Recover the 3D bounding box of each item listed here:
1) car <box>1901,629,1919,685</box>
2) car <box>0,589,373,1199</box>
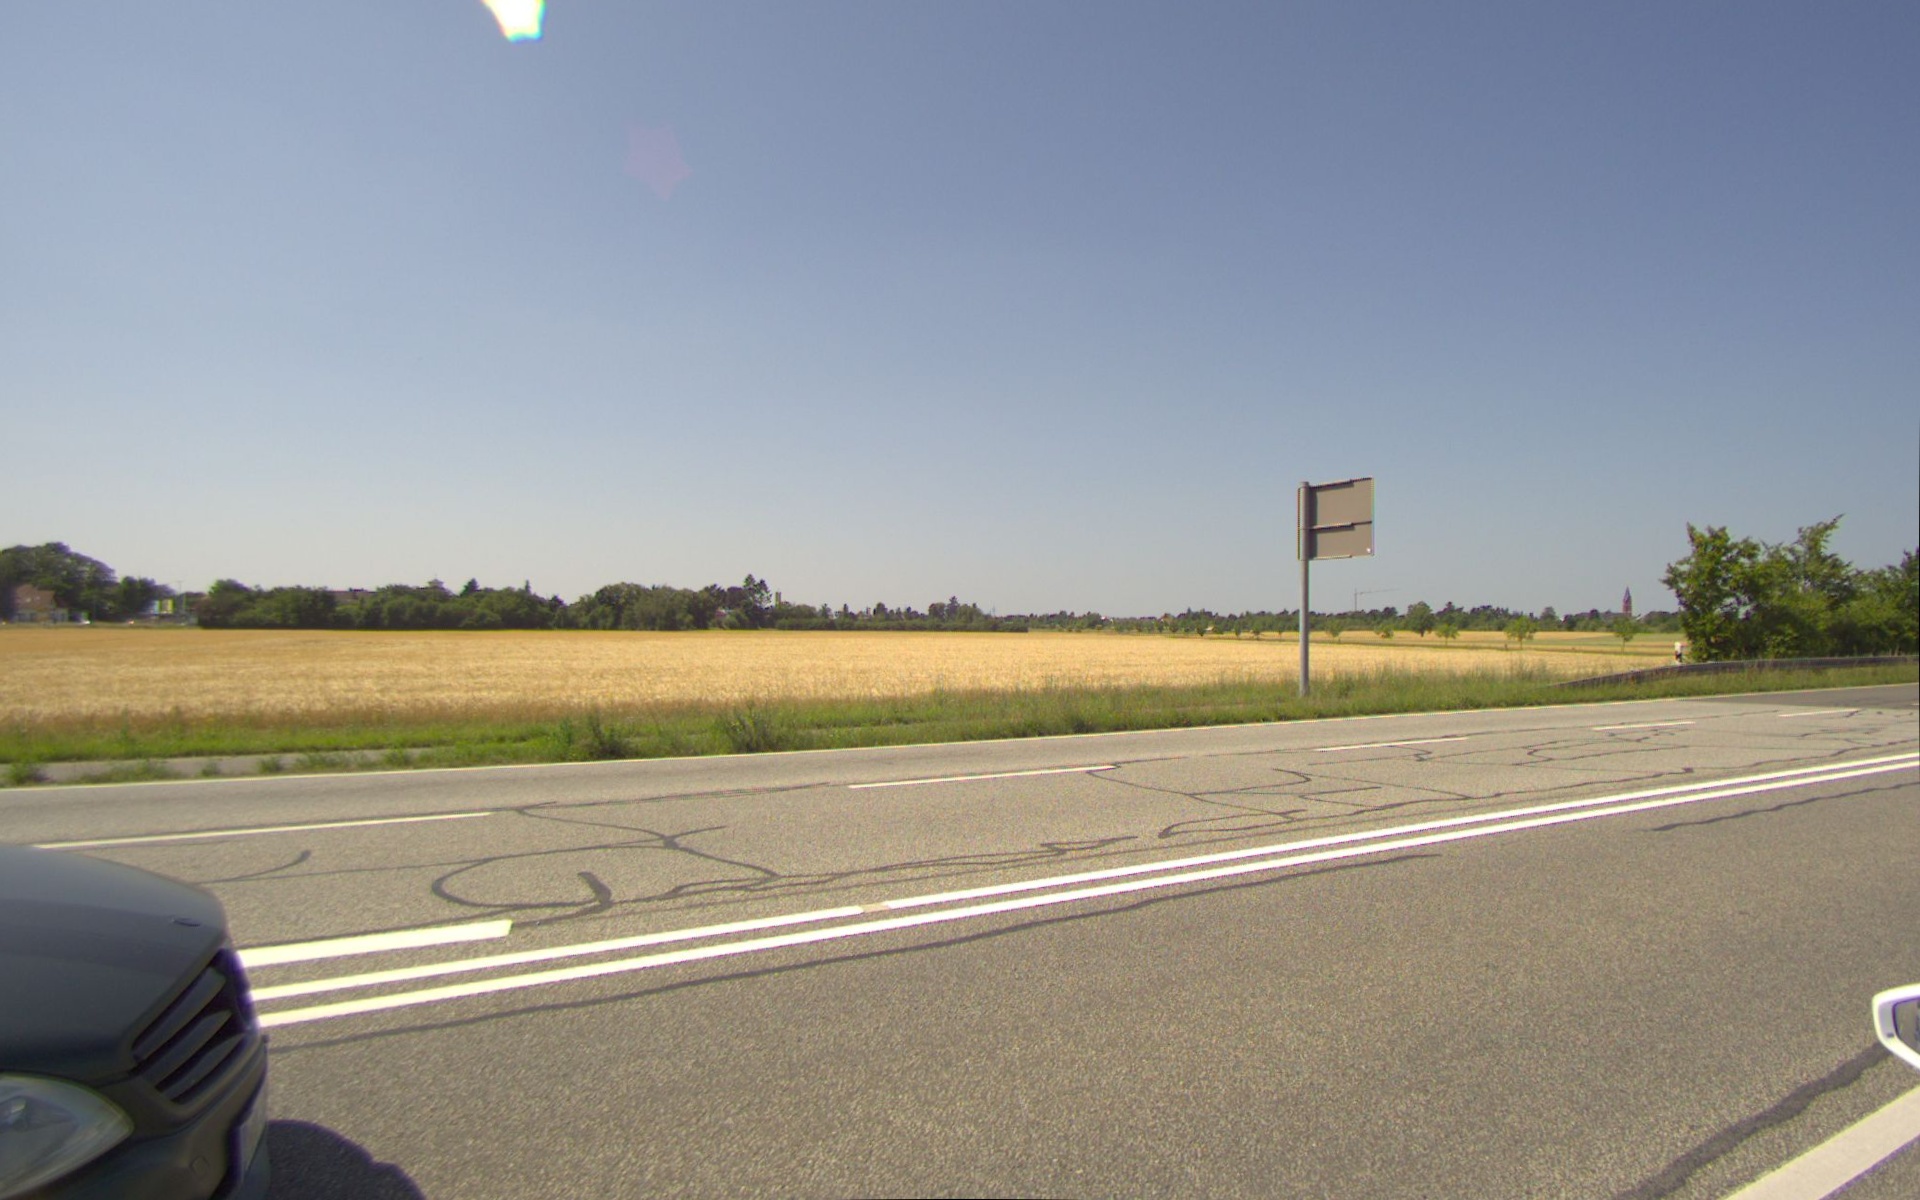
[{"bbox_3d":[29.247,1.613,28.915,4.259,1.582,1.985,1,-2,-30],"label":"car"},{"bbox_3d":[-3.414,0.683,1.035,4.821,1.469,1.802,1,0,-31],"label":"car"}]
